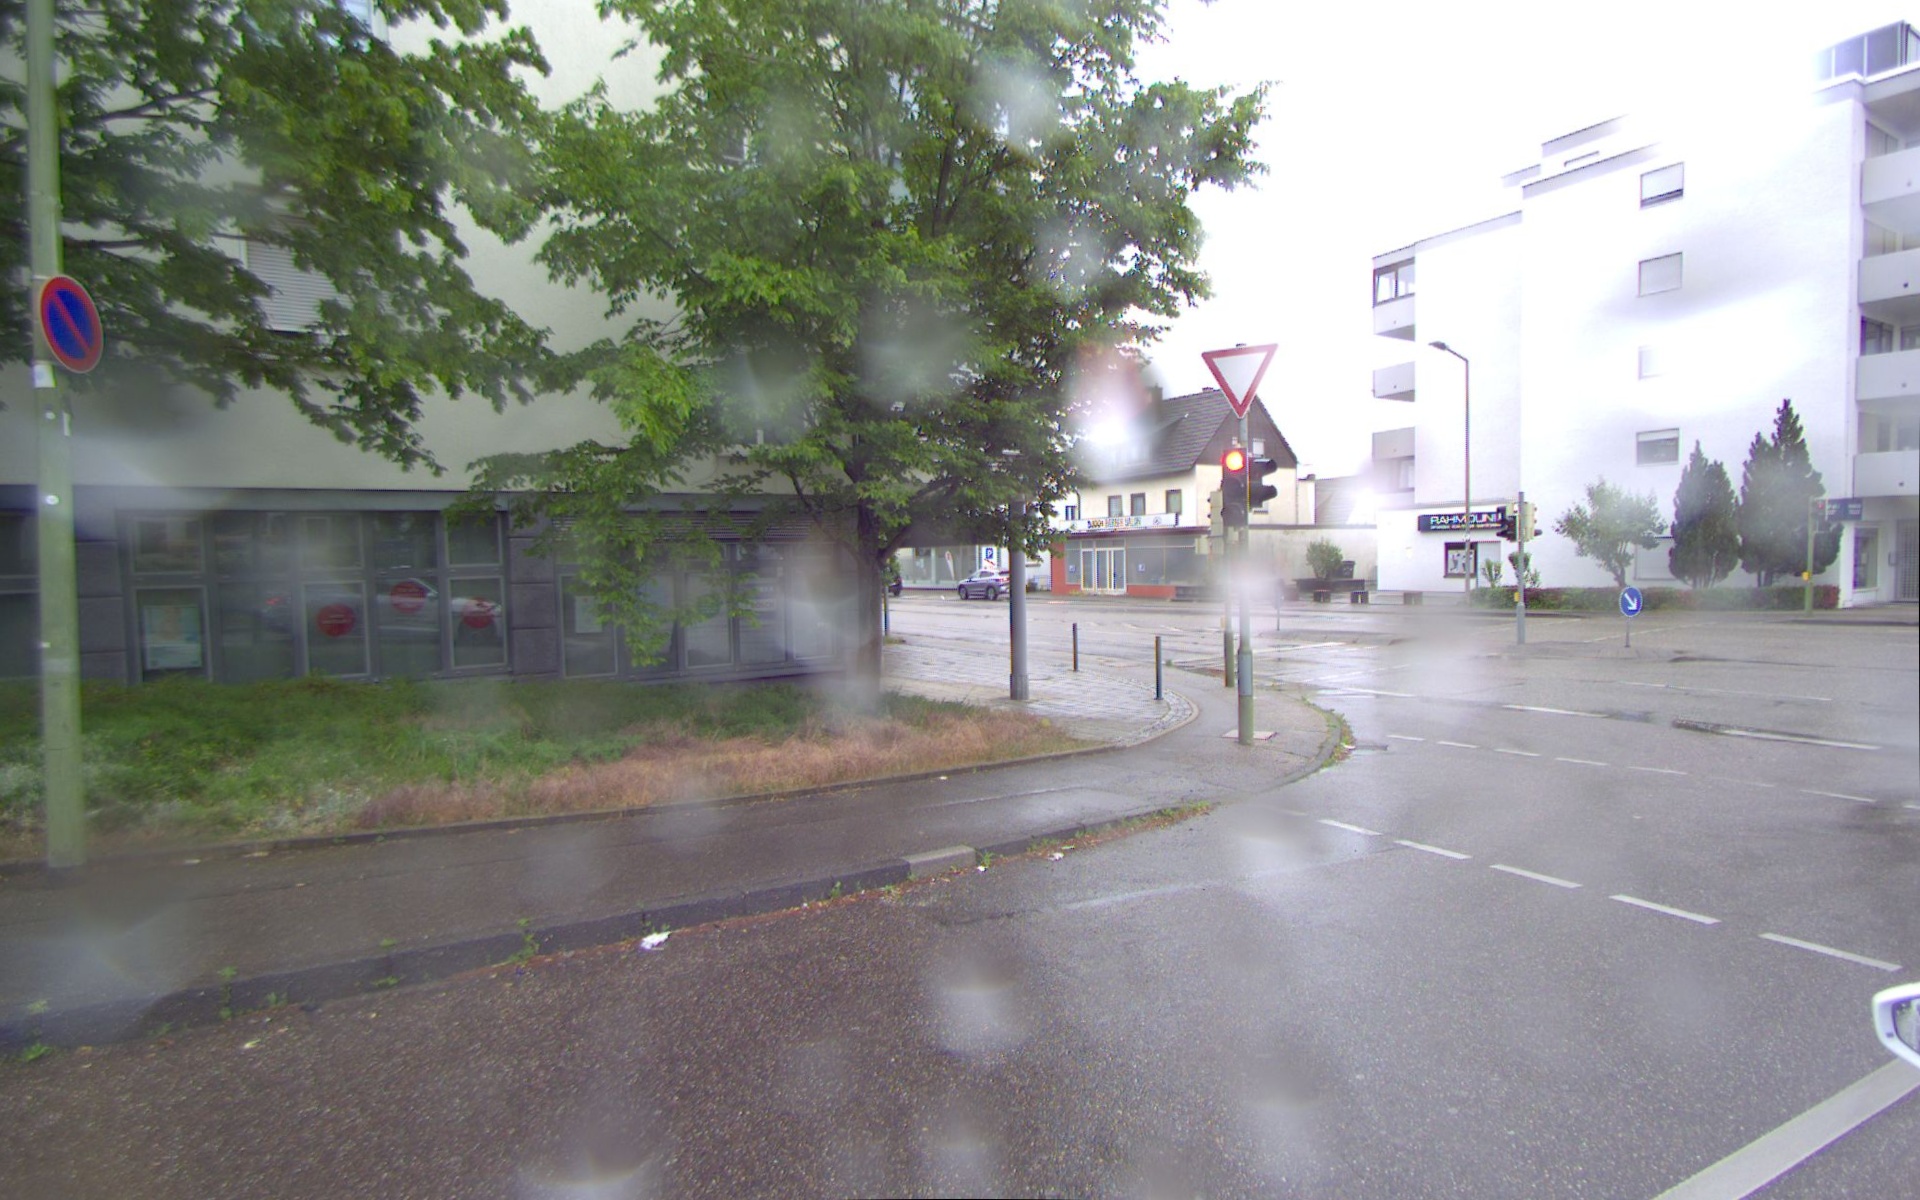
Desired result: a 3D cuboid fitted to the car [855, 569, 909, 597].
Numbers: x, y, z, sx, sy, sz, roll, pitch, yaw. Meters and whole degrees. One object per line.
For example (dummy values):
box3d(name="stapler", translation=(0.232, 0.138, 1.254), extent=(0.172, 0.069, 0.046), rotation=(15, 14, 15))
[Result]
box3d(name="car", translation=(-5.224, -1.152, 66.554), extent=(2.087, 1.719, 3.968), rotation=(-1, 4, -30))

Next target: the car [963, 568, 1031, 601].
box3d(name="car", translation=(2.015, -0.905, 55.978), extent=(1.976, 1.718, 3.968), rotation=(-1, 3, -30))
